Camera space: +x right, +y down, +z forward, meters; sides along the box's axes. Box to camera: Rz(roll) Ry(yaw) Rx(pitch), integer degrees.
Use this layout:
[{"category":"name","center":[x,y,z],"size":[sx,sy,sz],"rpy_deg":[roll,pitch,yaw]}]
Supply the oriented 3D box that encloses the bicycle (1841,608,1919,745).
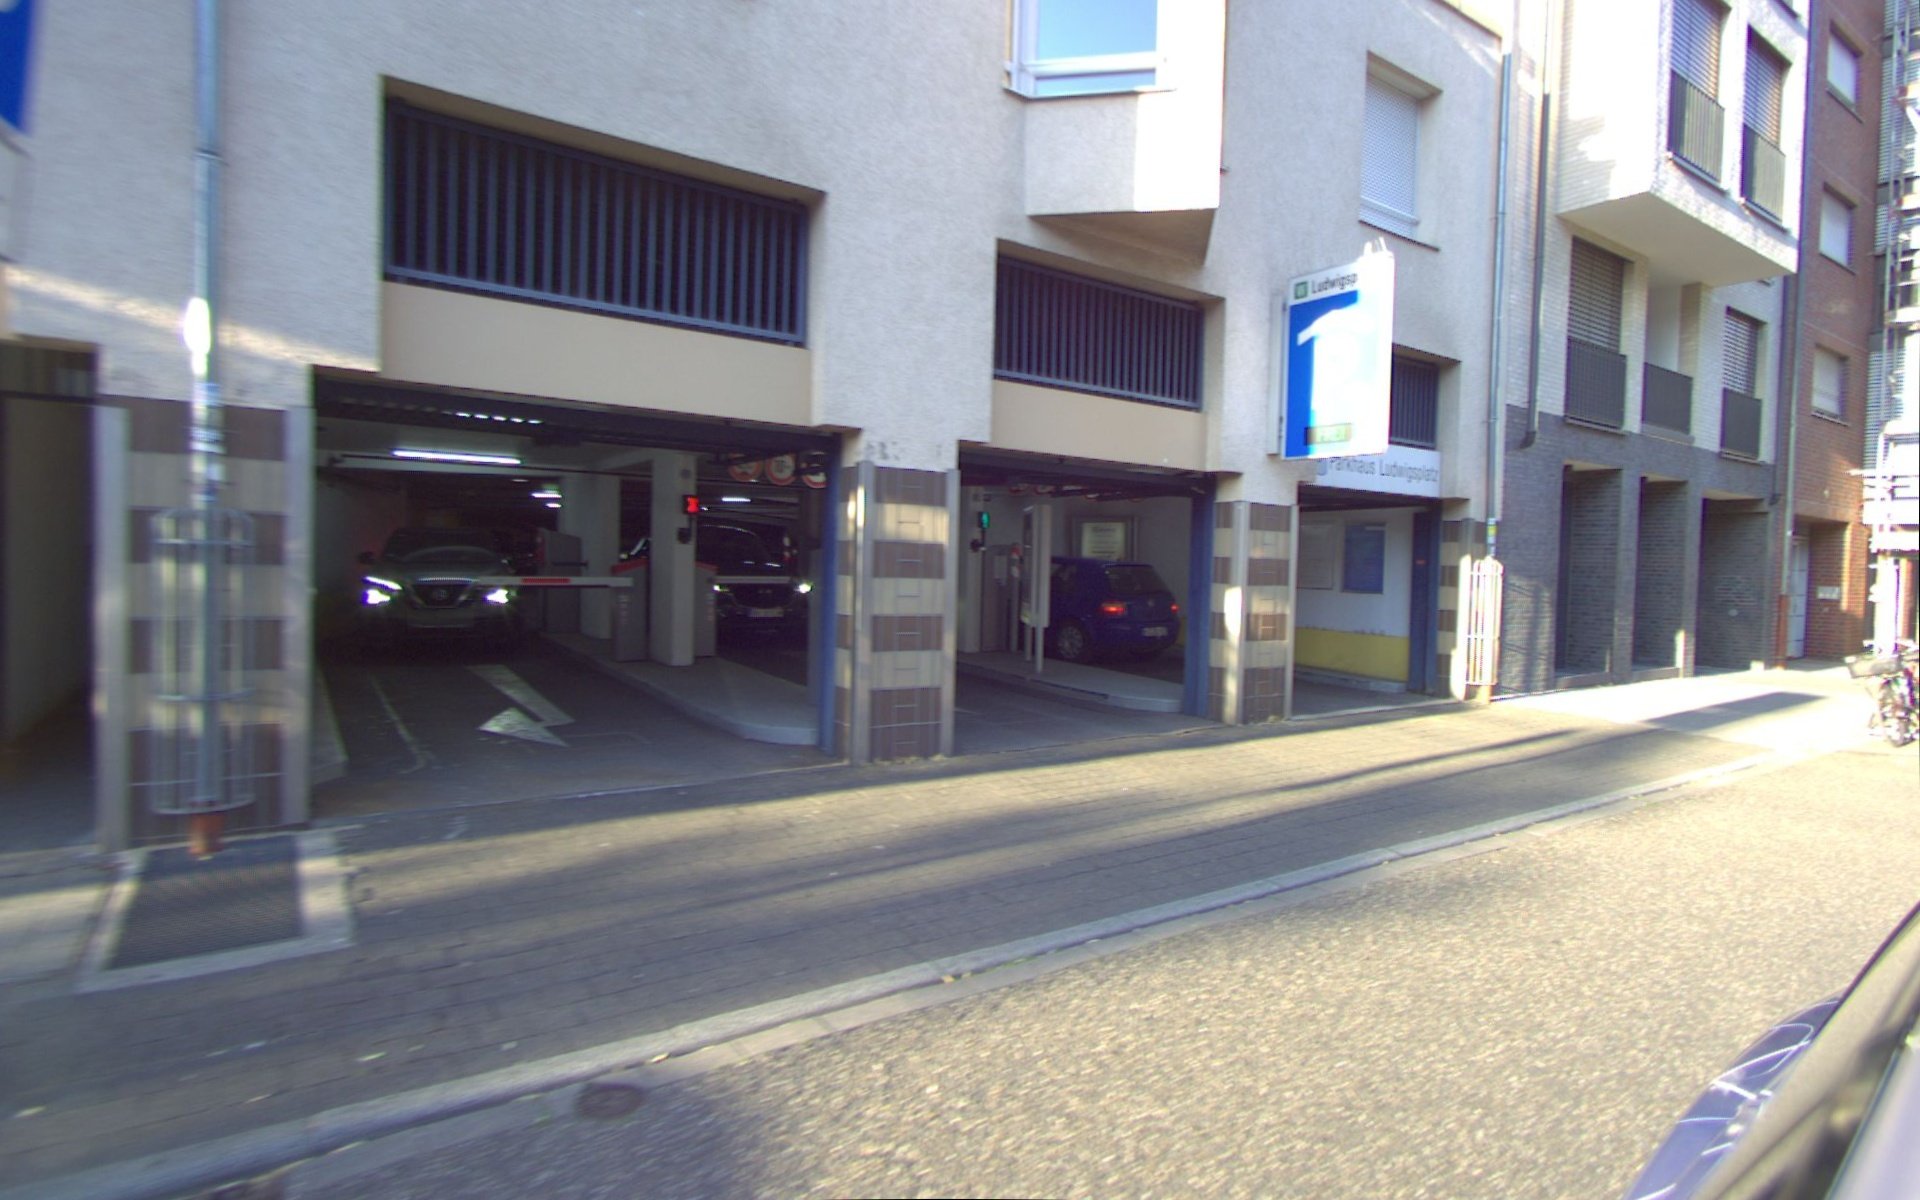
[{"category":"bicycle","center":[8.799,0.684,9.526],"size":[1.378,1.198,0.388],"rpy_deg":[0,2,-34]}]

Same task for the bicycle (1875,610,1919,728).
[{"category":"bicycle","center":[10.136,0.694,10.579],"size":[1.522,1.145,0.459],"rpy_deg":[0,2,-34]}]

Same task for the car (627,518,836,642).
[{"category":"car","center":[-3.700,-0.367,15.753],"size":[1.854,1.644,4.305],"rpy_deg":[0,3,-32]}]

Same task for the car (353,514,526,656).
[{"category":"car","center":[-6.927,-0.302,13.660],"size":[1.781,1.592,4.260],"rpy_deg":[0,4,-26]}]

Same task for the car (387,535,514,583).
[{"category":"car","center":[-16.958,-1.382,33.683],"size":[3.832,1.408,1.599],"rpy_deg":[3,3,19]}]

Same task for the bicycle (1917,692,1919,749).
[{"category":"bicycle","center":[9.082,0.700,9.061],"size":[1.522,1.203,0.387],"rpy_deg":[0,2,-34]}]

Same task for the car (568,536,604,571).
[{"category":"car","center":[-18.951,-2.382,51.214],"size":[1.528,1.637,3.890],"rpy_deg":[1,3,-23]}]

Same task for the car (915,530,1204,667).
[{"category":"car","center":[1.287,-0.128,14.626],"size":[1.664,1.581,4.115],"rpy_deg":[0,5,-41]}]
